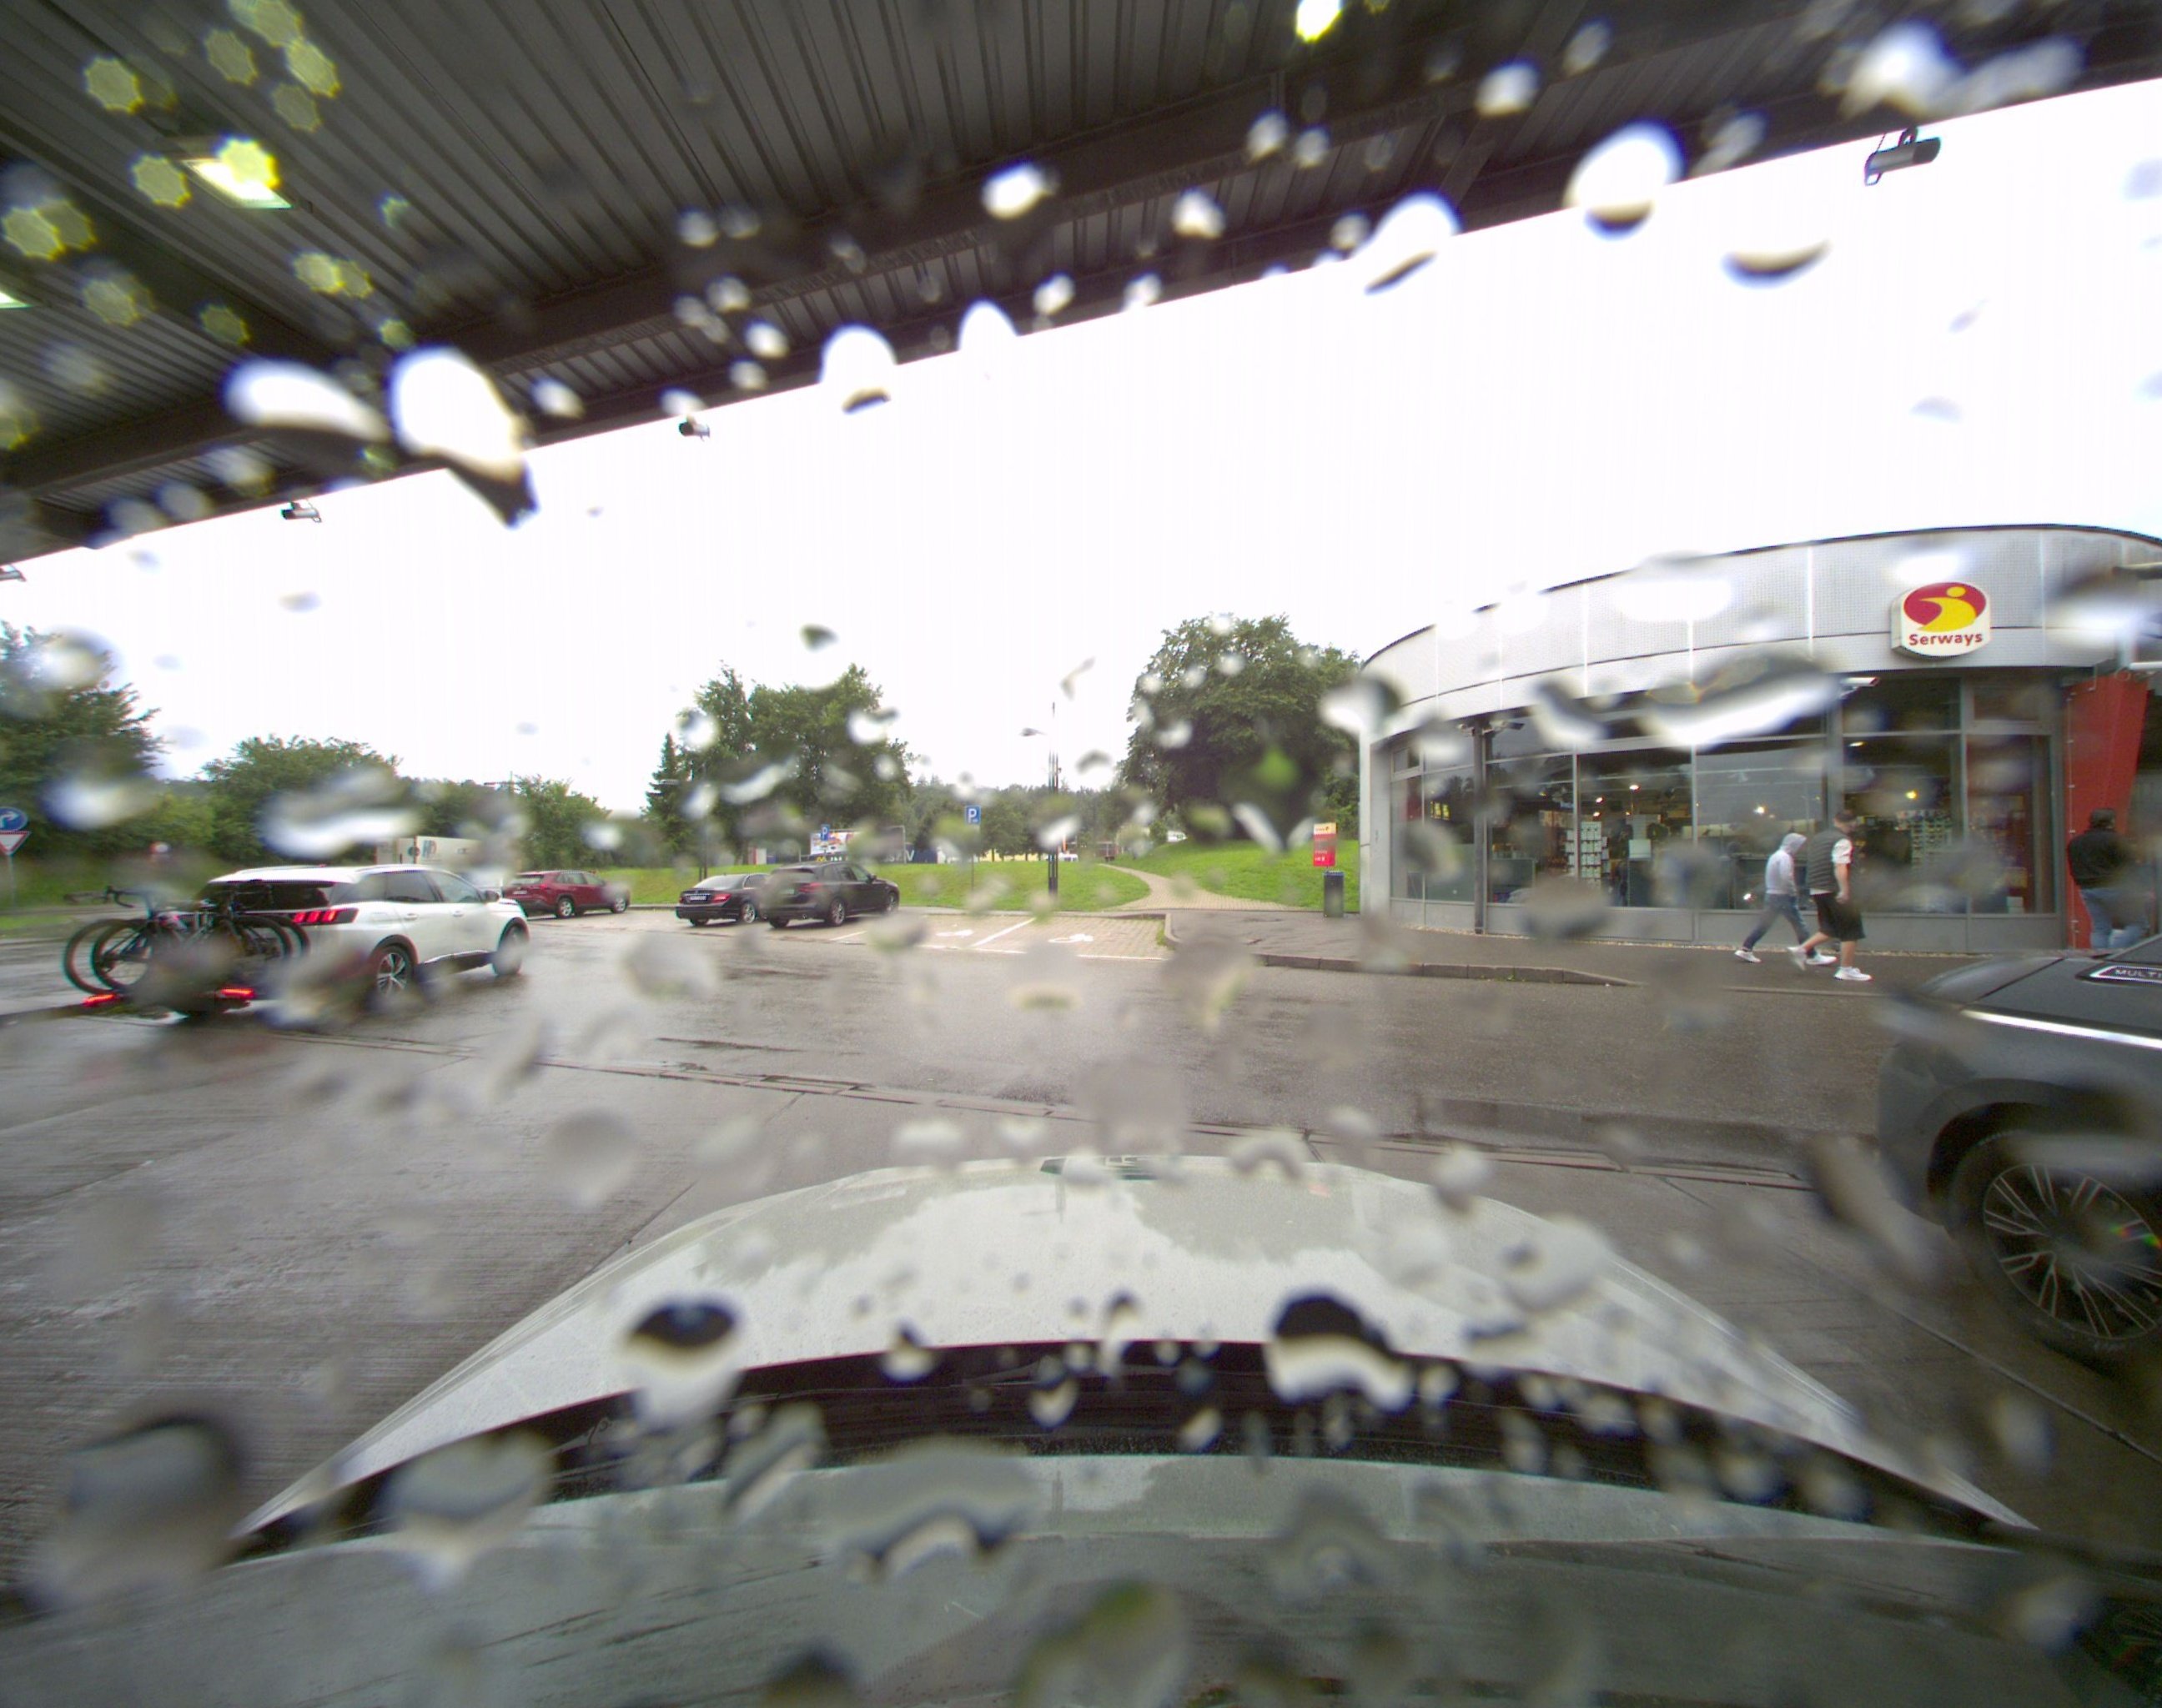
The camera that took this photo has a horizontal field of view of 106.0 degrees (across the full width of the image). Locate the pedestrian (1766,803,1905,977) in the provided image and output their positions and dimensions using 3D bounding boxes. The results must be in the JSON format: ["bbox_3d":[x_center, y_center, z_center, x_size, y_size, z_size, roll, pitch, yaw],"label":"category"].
[{"bbox_3d":[8.481,0.384,9.203,0.963,1.848,0.778,-2,0,30],"label":"pedestrian"}]

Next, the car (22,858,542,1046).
[{"bbox_3d":[-8.486,0.840,9.506,1.814,1.565,4.986,0,0,-10],"label":"car"}]

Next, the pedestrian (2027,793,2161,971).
[{"bbox_3d":[11.407,0.293,9.006,0.989,1.864,0.804,-2,0,30],"label":"pedestrian"}]

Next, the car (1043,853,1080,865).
[{"bbox_3d":[-3.197,0.811,134.056,5.376,2.013,2.468,-1,0,21],"label":"car"}]

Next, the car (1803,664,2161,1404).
[{"bbox_3d":[3.713,0.467,1.210,1.809,1.948,4.002,-1,0,2],"label":"car"}]

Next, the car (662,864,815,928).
[{"bbox_3d":[-9.622,1.140,23.276,1.871,1.565,4.200,-2,0,13],"label":"car"}]

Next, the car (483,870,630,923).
[{"bbox_3d":[-18.164,1.420,28.499,1.873,1.596,4.364,-2,0,8],"label":"car"}]

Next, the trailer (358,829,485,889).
[{"bbox_3d":[-54.896,0.436,68.454,3.466,4.557,13.827,0,-1,-18],"label":"trailer"}]

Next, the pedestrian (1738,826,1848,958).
[{"bbox_3d":[8.744,0.449,10.036,0.880,1.550,0.665,-2,0,31],"label":"pedestrian"}]

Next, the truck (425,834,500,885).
[{"bbox_3d":[-57.119,0.511,75.394,3.467,4.557,6.694,0,-1,-18],"label":"truck"}]

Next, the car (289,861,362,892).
[{"bbox_3d":[-49.180,1.434,53.129,1.934,1.838,4.360,-1,0,-20],"label":"car"}]

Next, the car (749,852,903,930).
[{"bbox_3d":[-6.621,0.890,21.719,1.871,1.828,4.429,-2,0,13],"label":"car"}]
